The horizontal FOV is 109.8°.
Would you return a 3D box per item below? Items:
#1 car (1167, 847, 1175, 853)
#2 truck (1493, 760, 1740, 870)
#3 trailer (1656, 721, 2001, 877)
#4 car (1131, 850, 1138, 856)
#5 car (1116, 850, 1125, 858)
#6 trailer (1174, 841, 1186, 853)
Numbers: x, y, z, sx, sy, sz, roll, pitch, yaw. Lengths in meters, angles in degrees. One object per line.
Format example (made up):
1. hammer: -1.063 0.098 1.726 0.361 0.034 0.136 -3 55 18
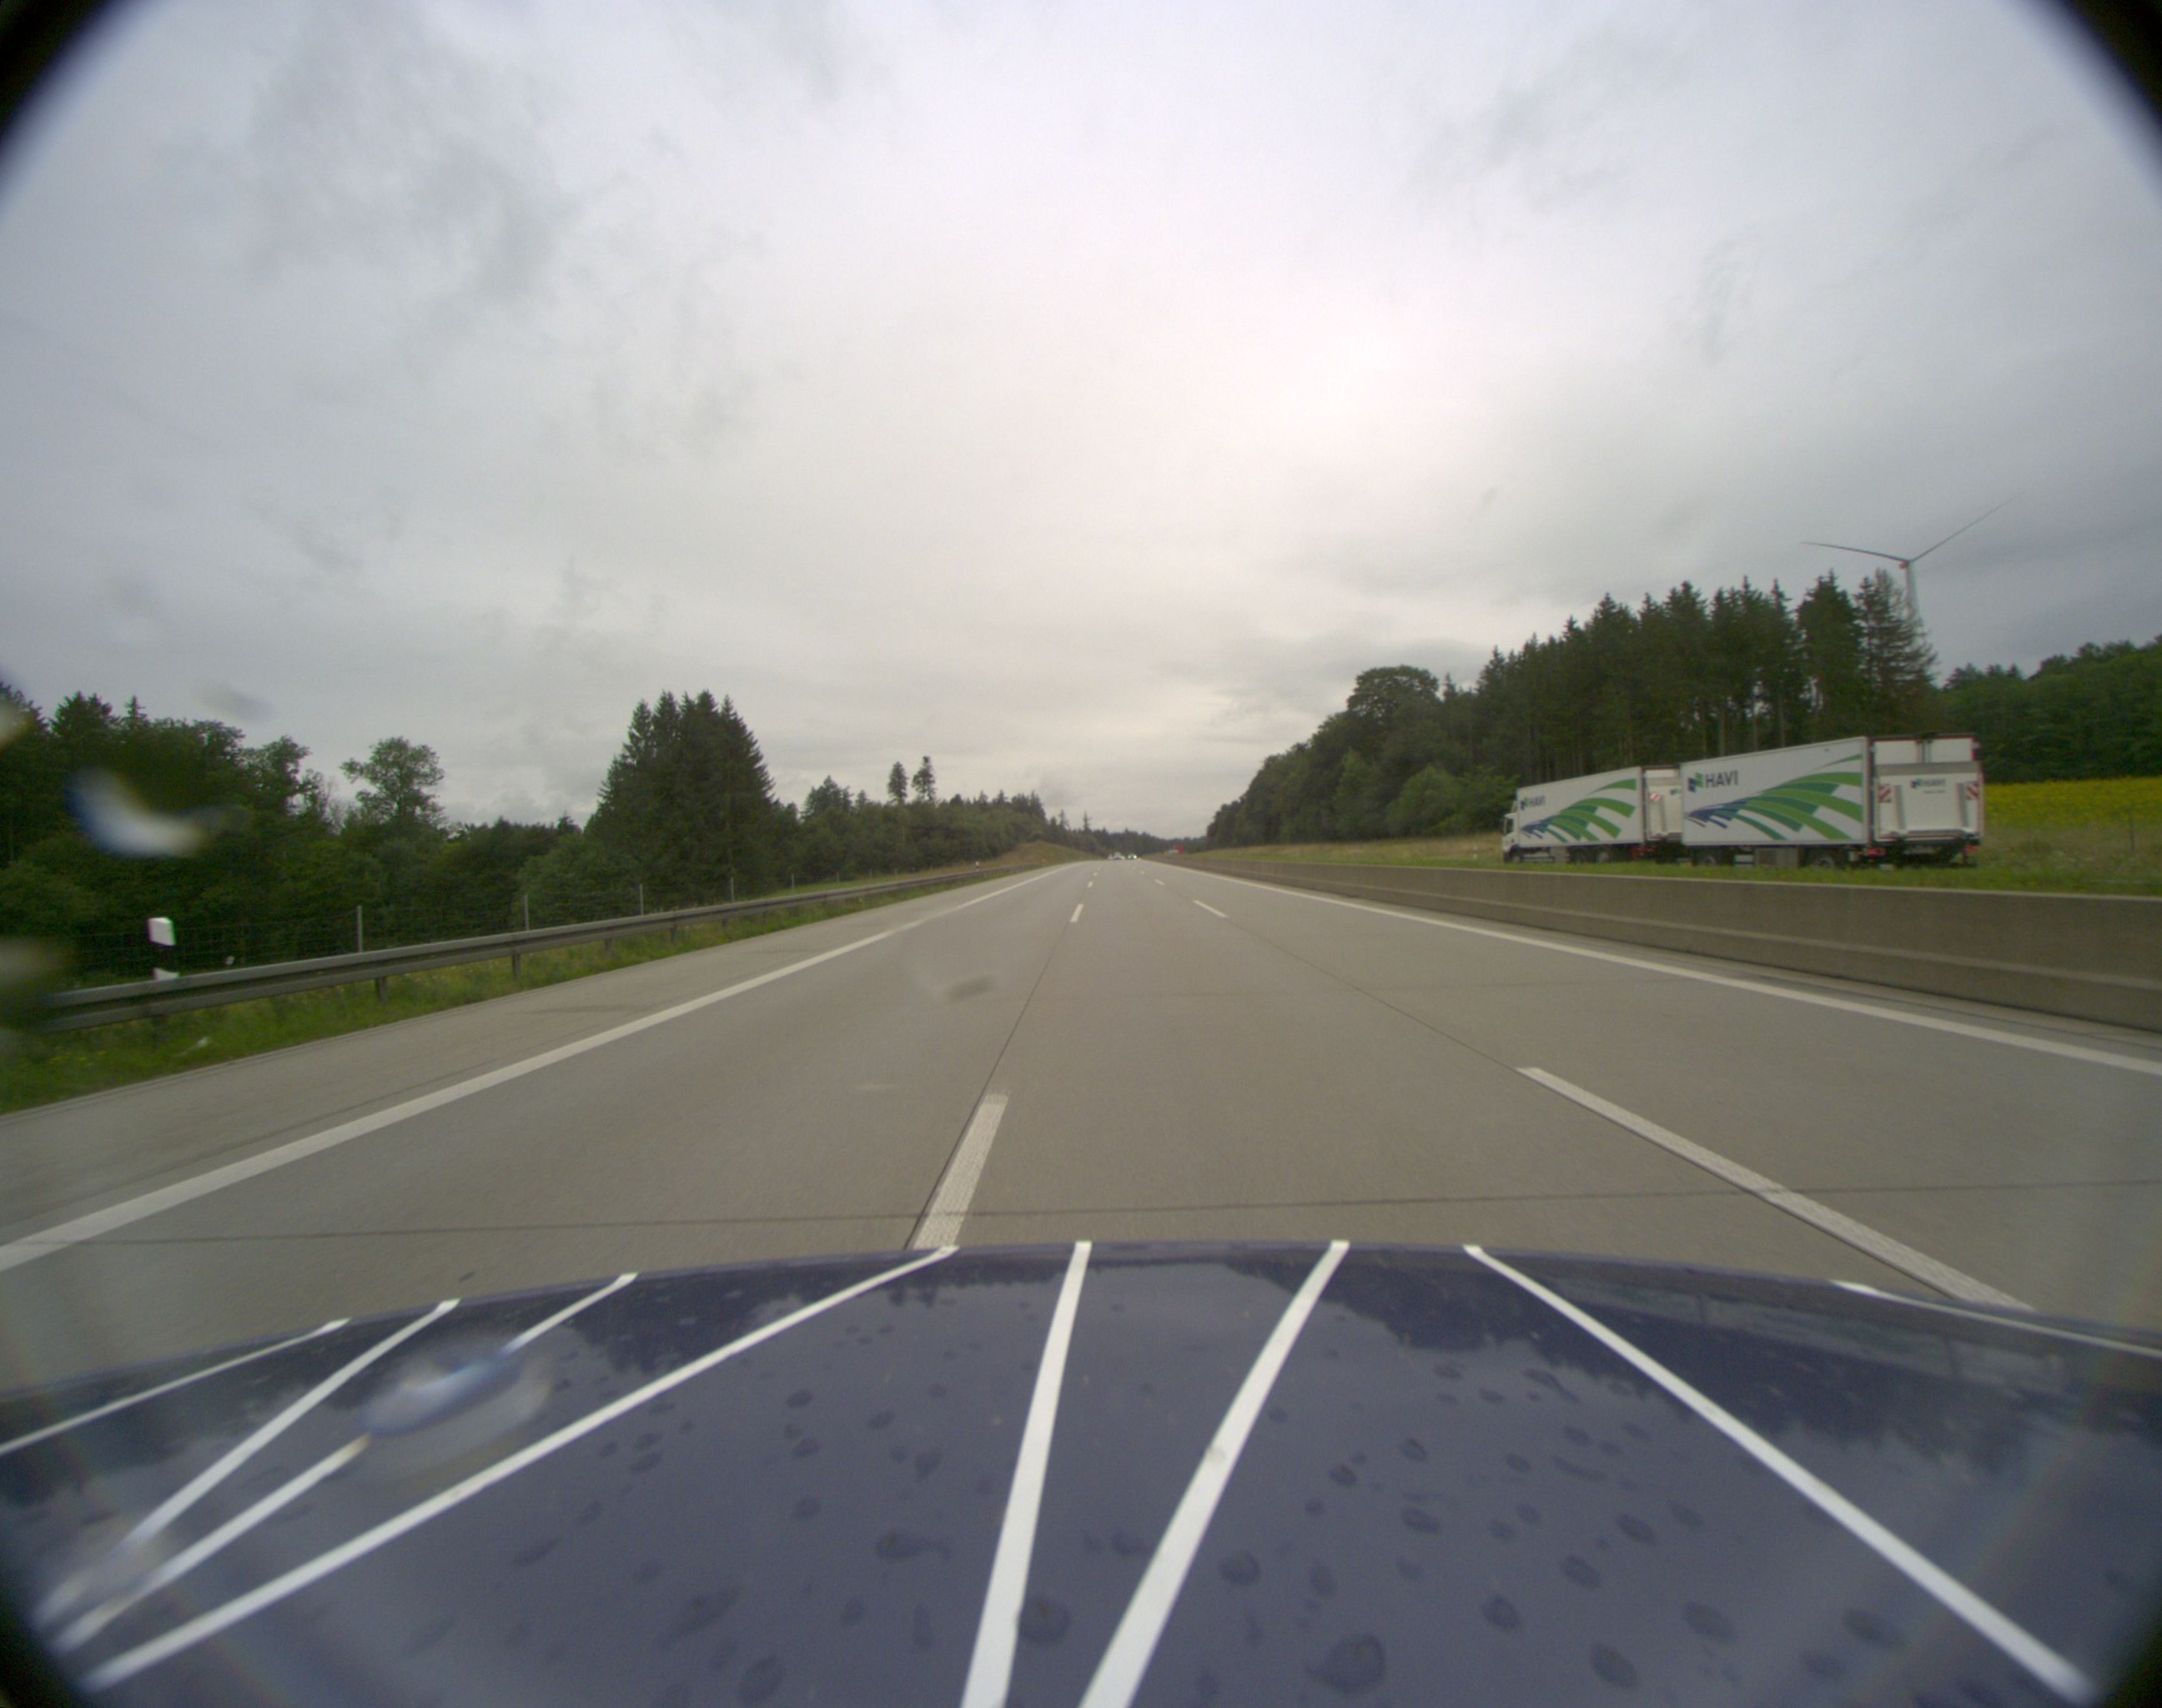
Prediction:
1. car: 29.165 -1.297 247.624 1.998 1.944 5.626 -2 0 1
2. truck: 21.933 -1.428 32.431 2.819 3.751 11.351 -2 0 2
3. trailer: 21.566 -1.368 22.814 2.825 3.760 7.717 -2 0 2
4. car: 14.142 -0.314 201.634 1.766 1.455 4.002 -2 -2 2
5. car: 10.630 0.049 204.878 2.213 2.001 4.834 -3 -1 0
6. trailer: 34.121 -2.421 262.249 2.614 3.921 14.382 -2 0 3
